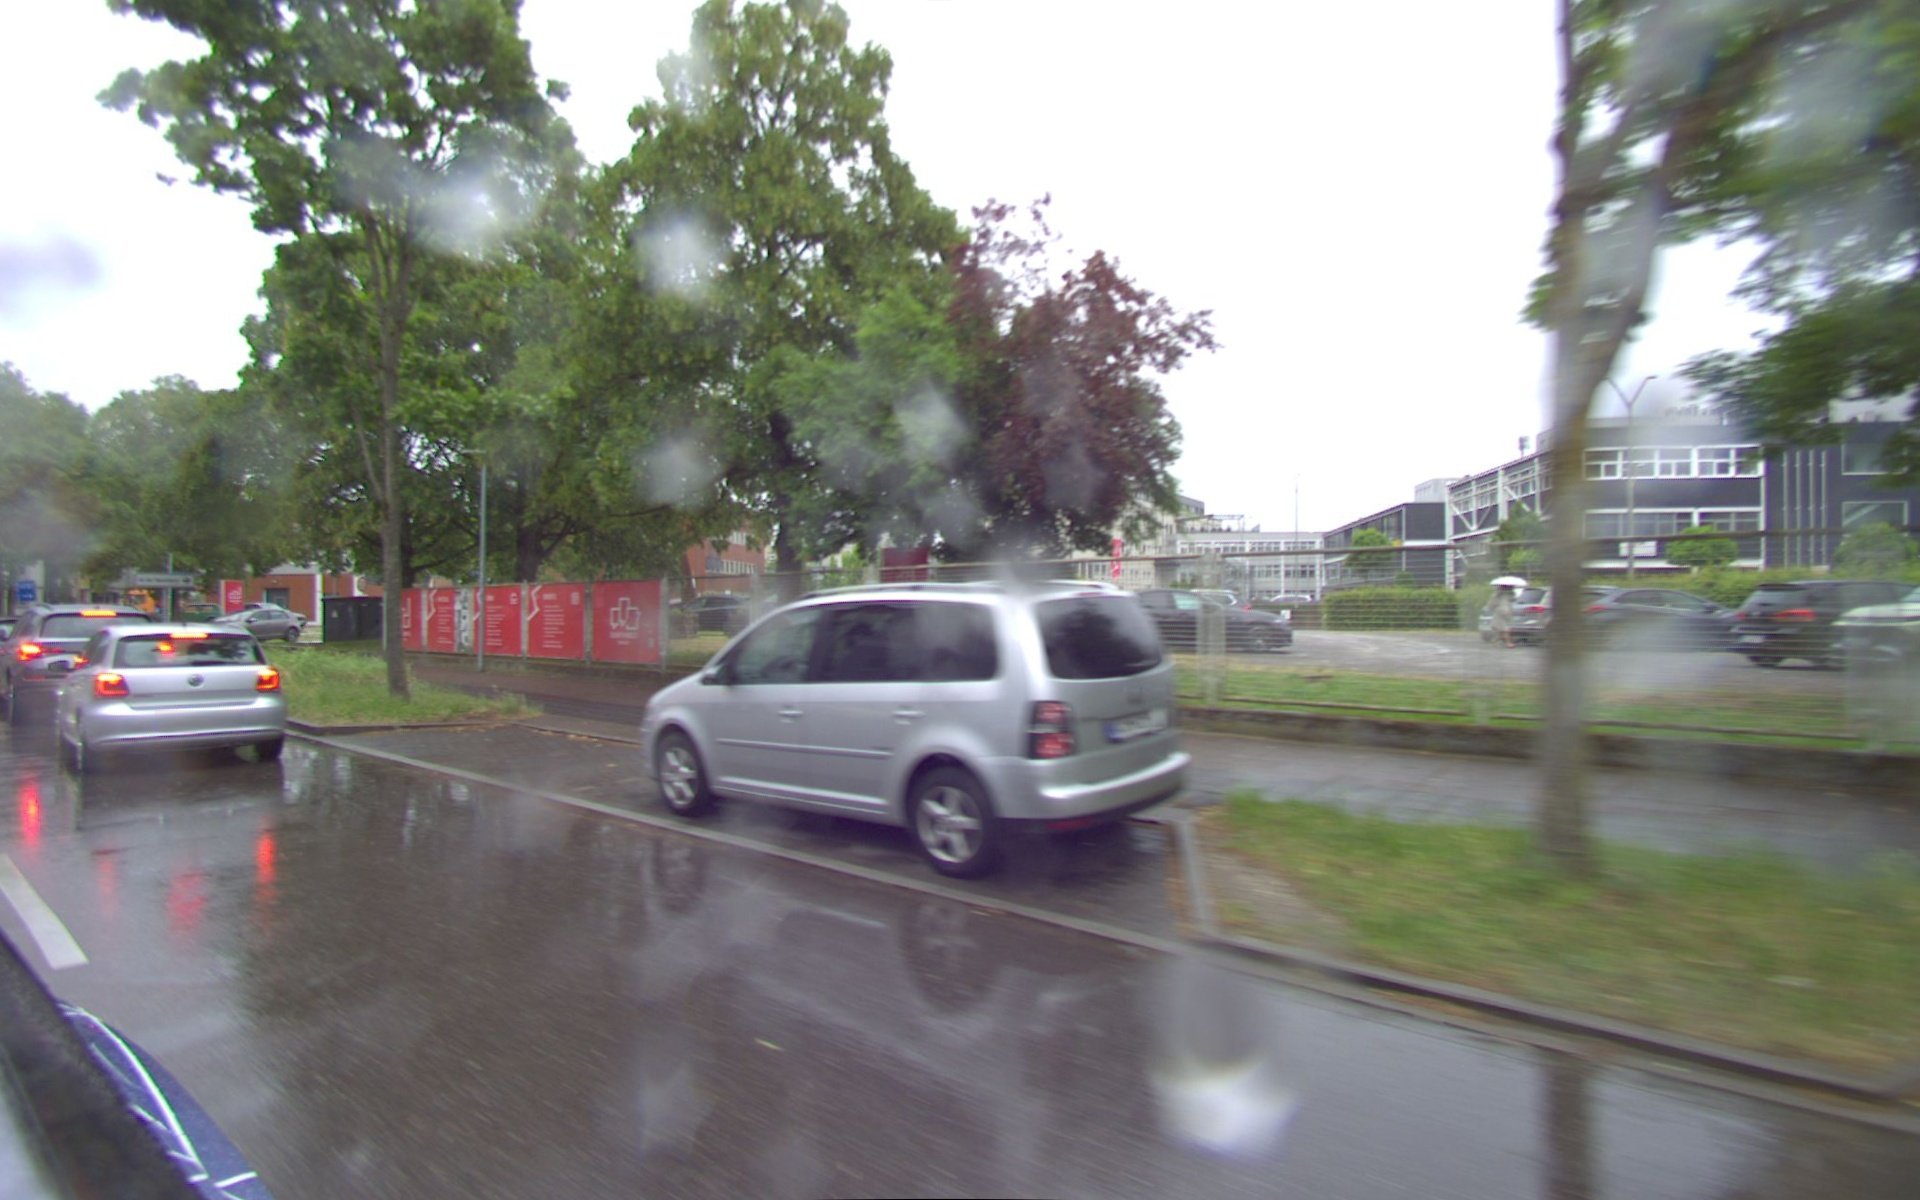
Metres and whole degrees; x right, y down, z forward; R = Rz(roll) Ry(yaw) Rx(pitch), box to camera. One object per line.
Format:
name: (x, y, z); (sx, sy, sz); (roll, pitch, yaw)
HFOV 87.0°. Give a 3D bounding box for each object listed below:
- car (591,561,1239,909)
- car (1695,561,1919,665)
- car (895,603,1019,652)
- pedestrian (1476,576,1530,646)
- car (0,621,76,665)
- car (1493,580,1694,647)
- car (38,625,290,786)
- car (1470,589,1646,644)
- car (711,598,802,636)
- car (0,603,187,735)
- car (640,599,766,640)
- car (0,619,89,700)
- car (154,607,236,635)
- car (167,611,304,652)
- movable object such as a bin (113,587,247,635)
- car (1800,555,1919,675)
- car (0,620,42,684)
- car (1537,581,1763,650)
car: (-0.592, 0.681, 7.132); (4.598, 1.692, 1.757); (-2, 1, 41)
car: (14.697, 0.216, 16.474); (3.946, 1.569, 1.999); (0, -1, 2)
car: (-0.088, 0.938, 34.944); (3.962, 1.595, 1.794); (-1, -1, 15)
pedestrian: (13.245, 0.265, 24.688); (0.999, 1.680, 0.716); (-1, -1, 41)
car: (-33.882, 1.478, 34.761); (4.844, 1.465, 2.092); (0, -1, -17)
car: (15.958, 0.350, 25.678); (3.816, 1.612, 1.928); (0, -1, 6)
car: (-8.807, 0.986, 11.055); (4.254, 1.393, 1.653); (-1, -1, 45)
car: (16.415, 0.469, 27.953); (3.772, 1.462, 1.759); (0, -1, 8)
car: (-11.970, 1.004, 59.677); (4.918, 2.167, 1.994); (-1, -1, 10)
car: (-13.260, 0.891, 15.140); (4.821, 1.652, 1.893); (-1, 0, 43)
car: (-10.046, 0.770, 39.690); (4.392, 1.538, 1.990); (-1, -1, 15)
car: (-18.430, 1.107, 19.615); (4.263, 1.431, 1.760); (-2, -2, 41)
car: (-47.612, 1.282, 62.982); (3.938, 1.613, 2.003); (0, -2, -41)
car: (-28.870, 1.223, 40.504); (1.991, 1.405, 4.326); (-1, 1, 10)
movable object such as a bin: (-49.865, 0.686, 64.827); (6.670, 2.953, 2.780); (0, -1, -39)
car: (14.584, 0.204, 14.181); (3.950, 1.584, 1.848); (0, 0, 6)
car: (-23.695, 1.212, 24.328); (4.826, 1.414, 1.757); (-1, 0, 40)
car: (15.796, 0.352, 23.341); (3.864, 1.507, 1.863); (0, -1, 3)
